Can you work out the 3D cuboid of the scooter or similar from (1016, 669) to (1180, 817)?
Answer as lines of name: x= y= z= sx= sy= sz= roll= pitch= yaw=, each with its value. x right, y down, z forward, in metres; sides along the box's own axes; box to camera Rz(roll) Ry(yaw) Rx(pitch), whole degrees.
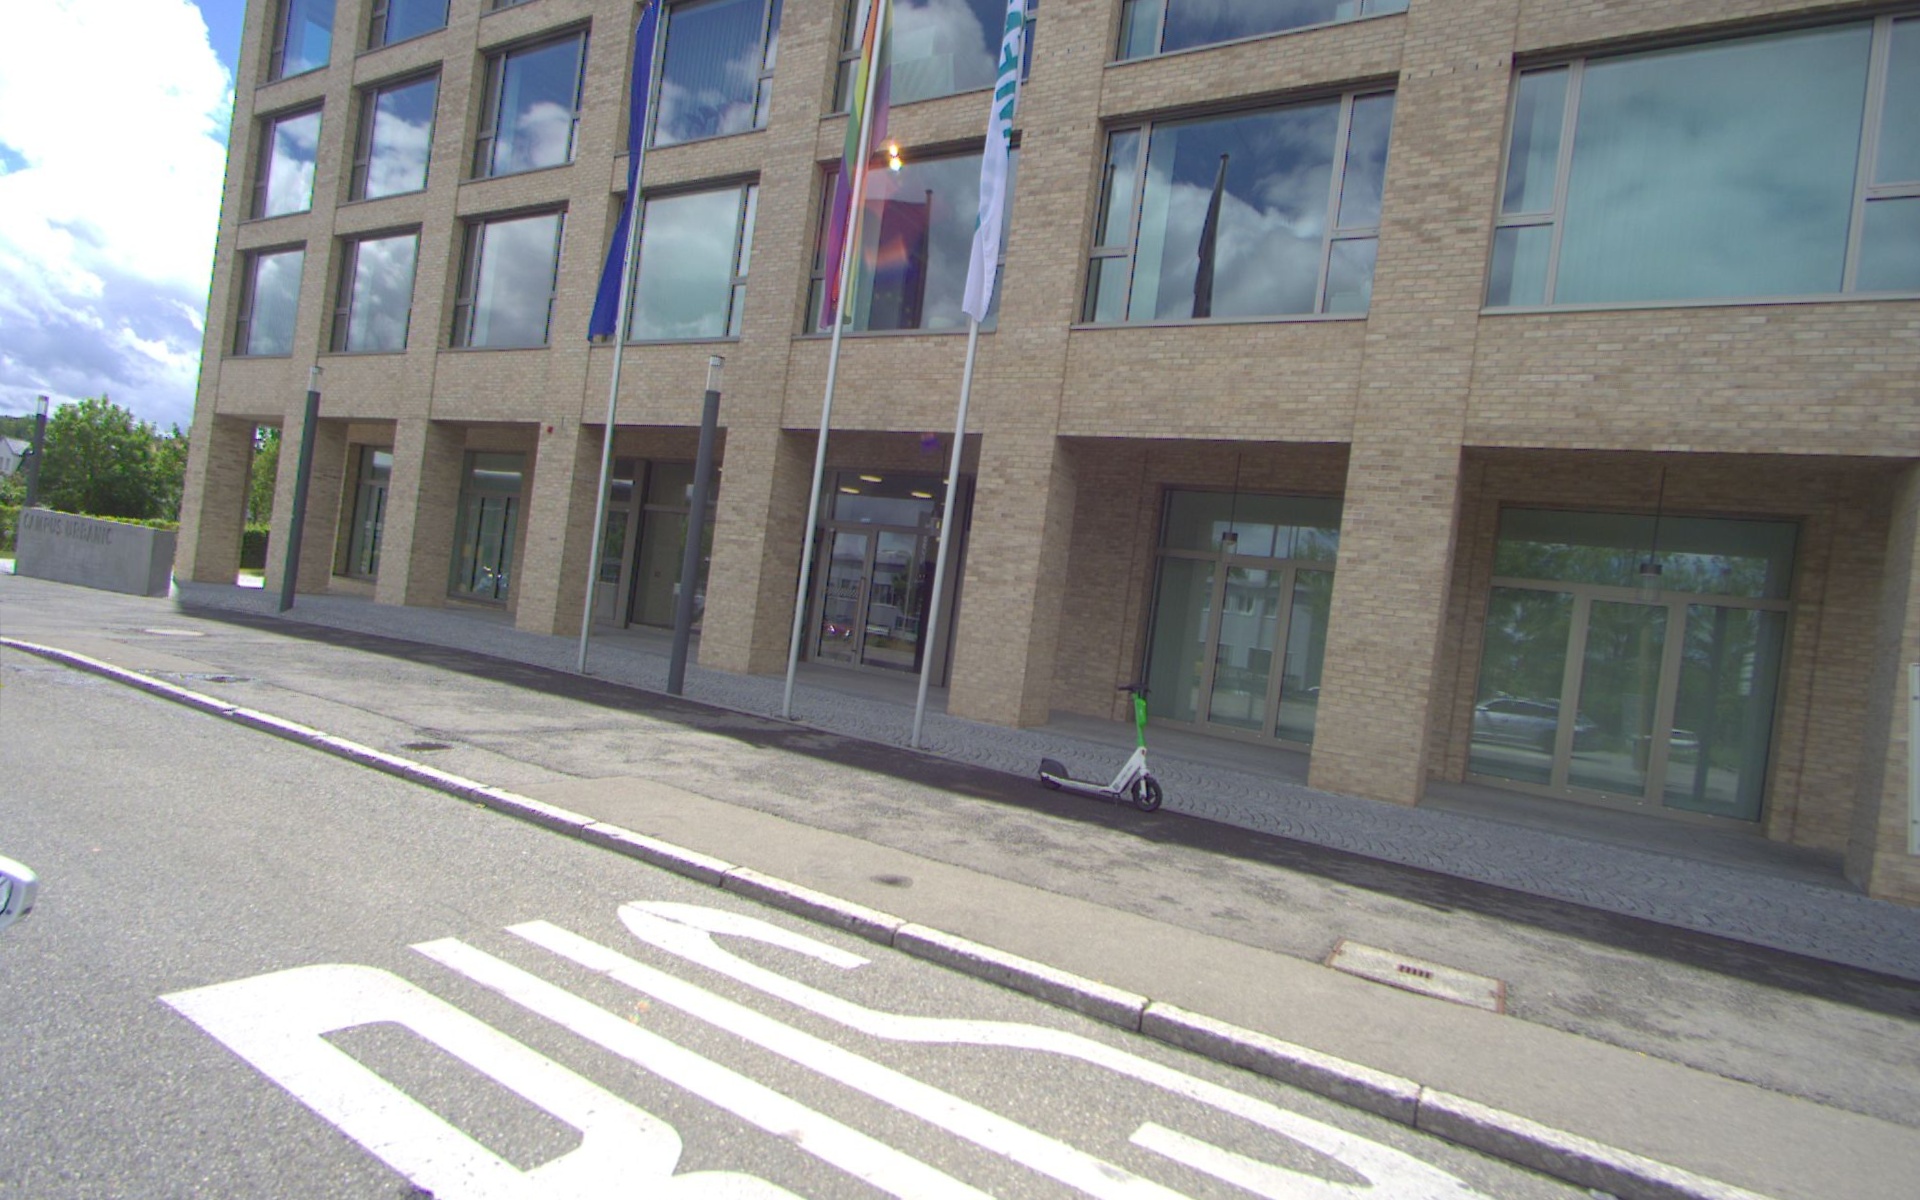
scooter or similar: x=1.311 y=1.339 z=9.651 sx=1.380 sy=1.167 sz=0.427 roll=7 pitch=0 yaw=32

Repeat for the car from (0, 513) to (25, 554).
car: x=-38.295 y=-2.731 z=37.622 sx=1.967 sy=1.500 sz=4.438 roll=5 pitch=-1 yaw=31
